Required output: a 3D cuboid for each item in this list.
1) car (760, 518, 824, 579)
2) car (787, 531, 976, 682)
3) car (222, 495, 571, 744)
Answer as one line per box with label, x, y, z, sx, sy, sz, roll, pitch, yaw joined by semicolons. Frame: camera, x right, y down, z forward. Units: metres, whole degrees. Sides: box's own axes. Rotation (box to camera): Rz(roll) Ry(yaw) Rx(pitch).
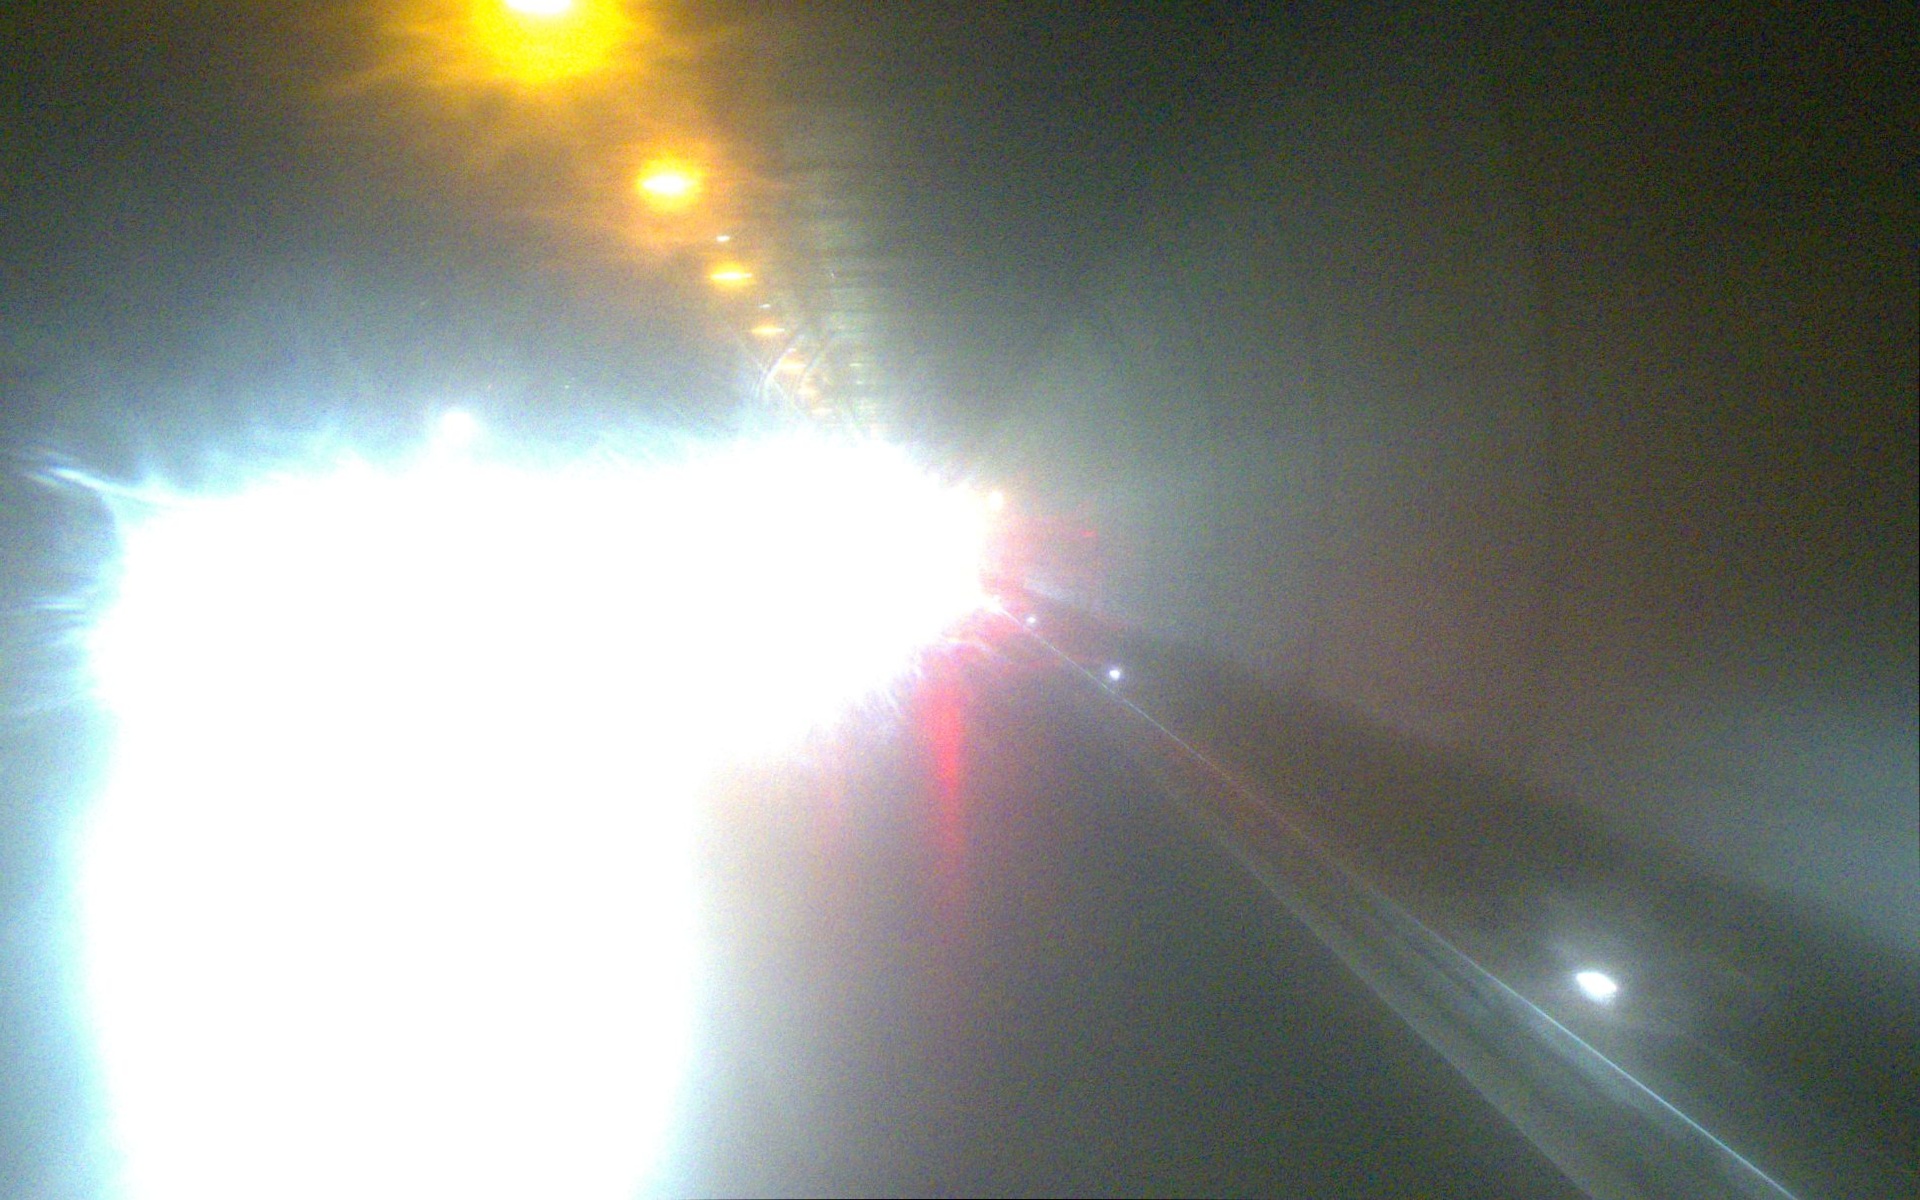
car;-5.629;-1.738;115.428;1.993;2.007;4.000;1;1;-1
car;-0.913;0.037;40.408;2.089;1.656;4.000;1;1;-1
car;-4.188;0.096;26.218;1.993;1.703;4.281;1;1;-1
